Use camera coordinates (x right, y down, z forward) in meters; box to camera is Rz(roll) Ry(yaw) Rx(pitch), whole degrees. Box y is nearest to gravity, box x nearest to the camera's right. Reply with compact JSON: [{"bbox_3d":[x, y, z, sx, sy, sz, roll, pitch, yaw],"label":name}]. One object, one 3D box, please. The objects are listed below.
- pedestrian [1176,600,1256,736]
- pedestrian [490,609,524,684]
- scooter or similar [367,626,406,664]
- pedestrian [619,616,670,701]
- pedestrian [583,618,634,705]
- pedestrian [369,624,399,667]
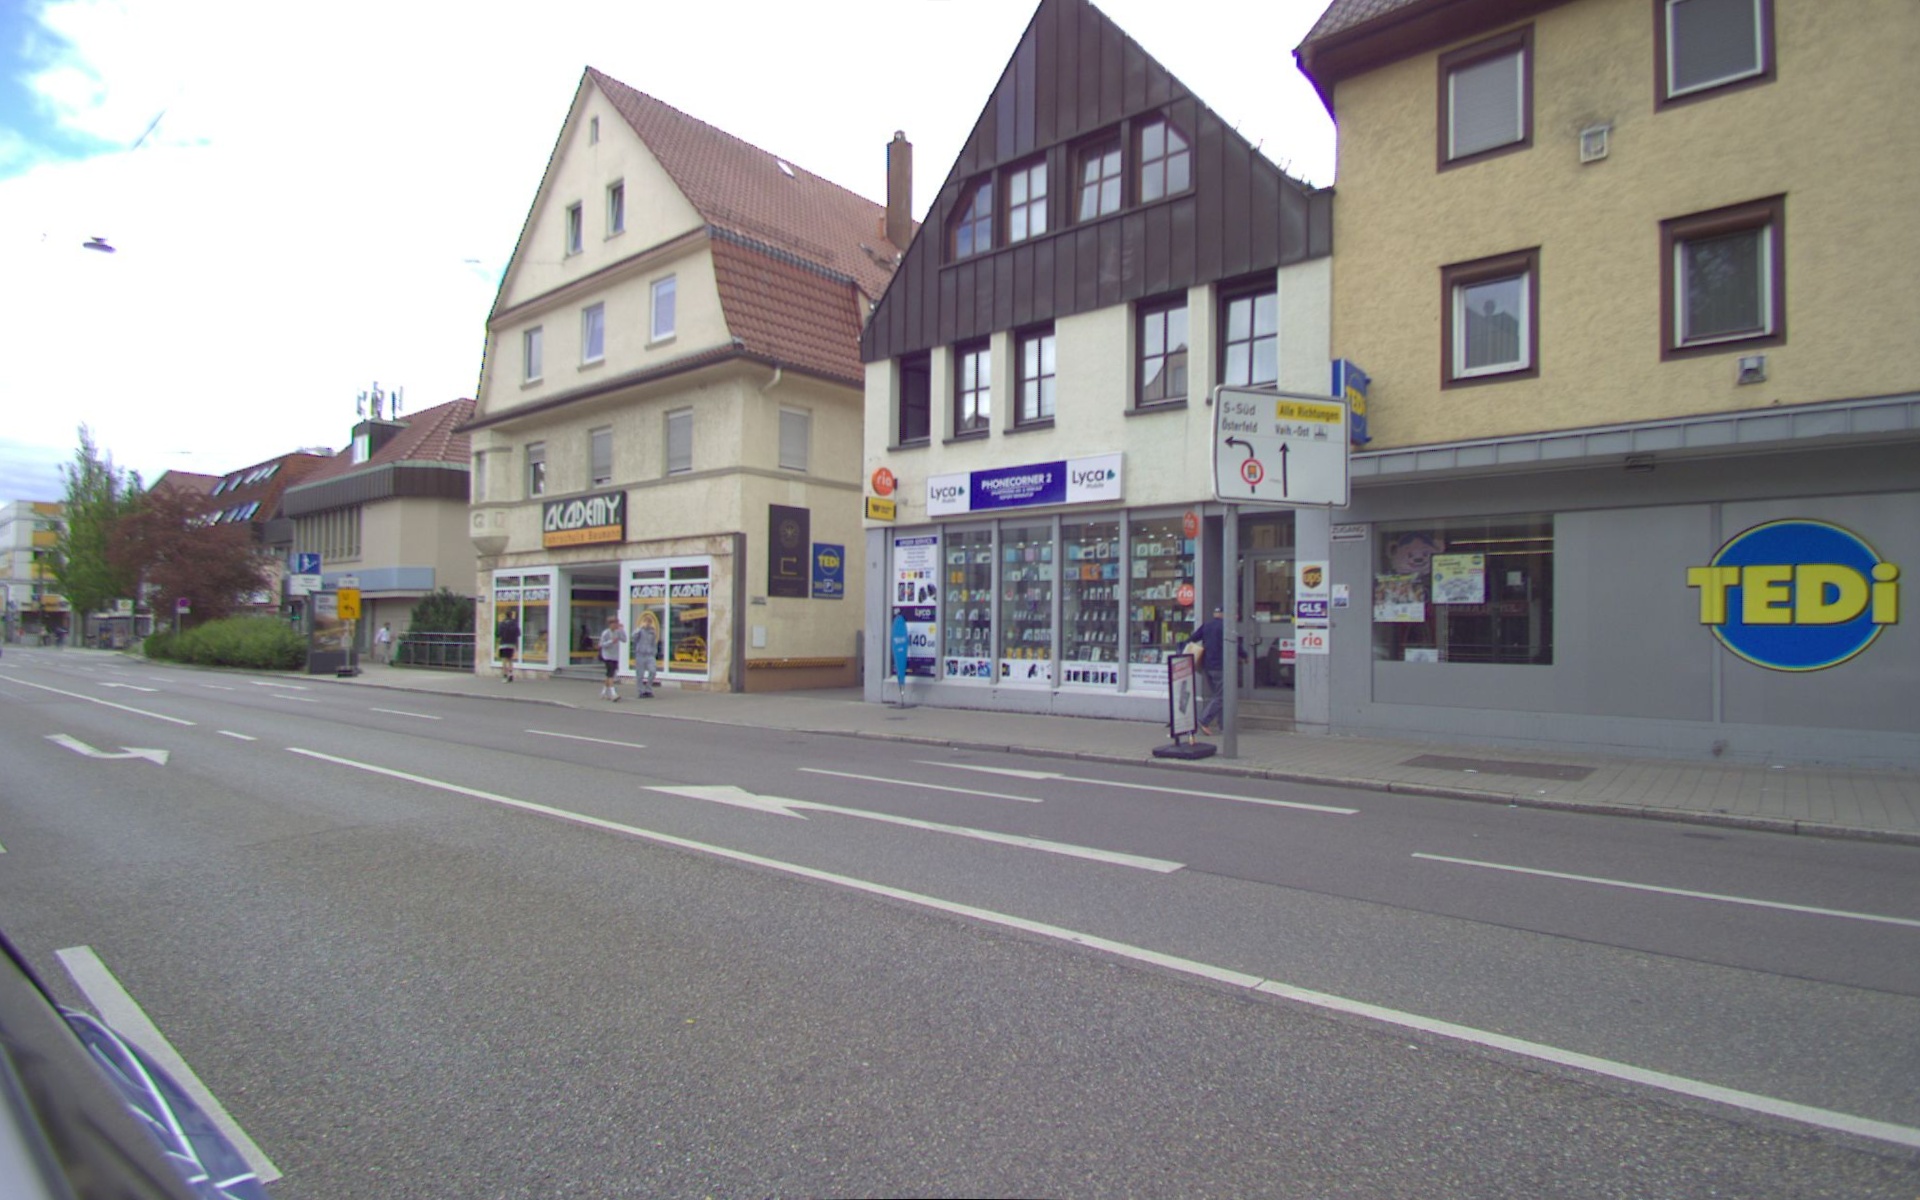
[{"bbox_3d":[3.387,0.879,13.409,0.775,1.726,0.679,-2,-1,41],"label":"pedestrian"},{"bbox_3d":[-11.696,1.183,26.122,0.592,1.903,0.544,-2,-1,37],"label":"pedestrian"},{"bbox_3d":[-21.904,1.711,38.648,0.536,1.404,1.182,-1,-2,26],"label":"scooter or similar"},{"bbox_3d":[-6.494,1.182,20.838,0.709,1.683,0.680,-2,0,41],"label":"pedestrian"},{"bbox_3d":[-7.030,1.210,20.238,0.742,1.703,0.680,-2,-1,41],"label":"pedestrian"},{"bbox_3d":[-24.031,1.873,42.220,0.837,1.772,0.825,-2,-3,41],"label":"pedestrian"}]
